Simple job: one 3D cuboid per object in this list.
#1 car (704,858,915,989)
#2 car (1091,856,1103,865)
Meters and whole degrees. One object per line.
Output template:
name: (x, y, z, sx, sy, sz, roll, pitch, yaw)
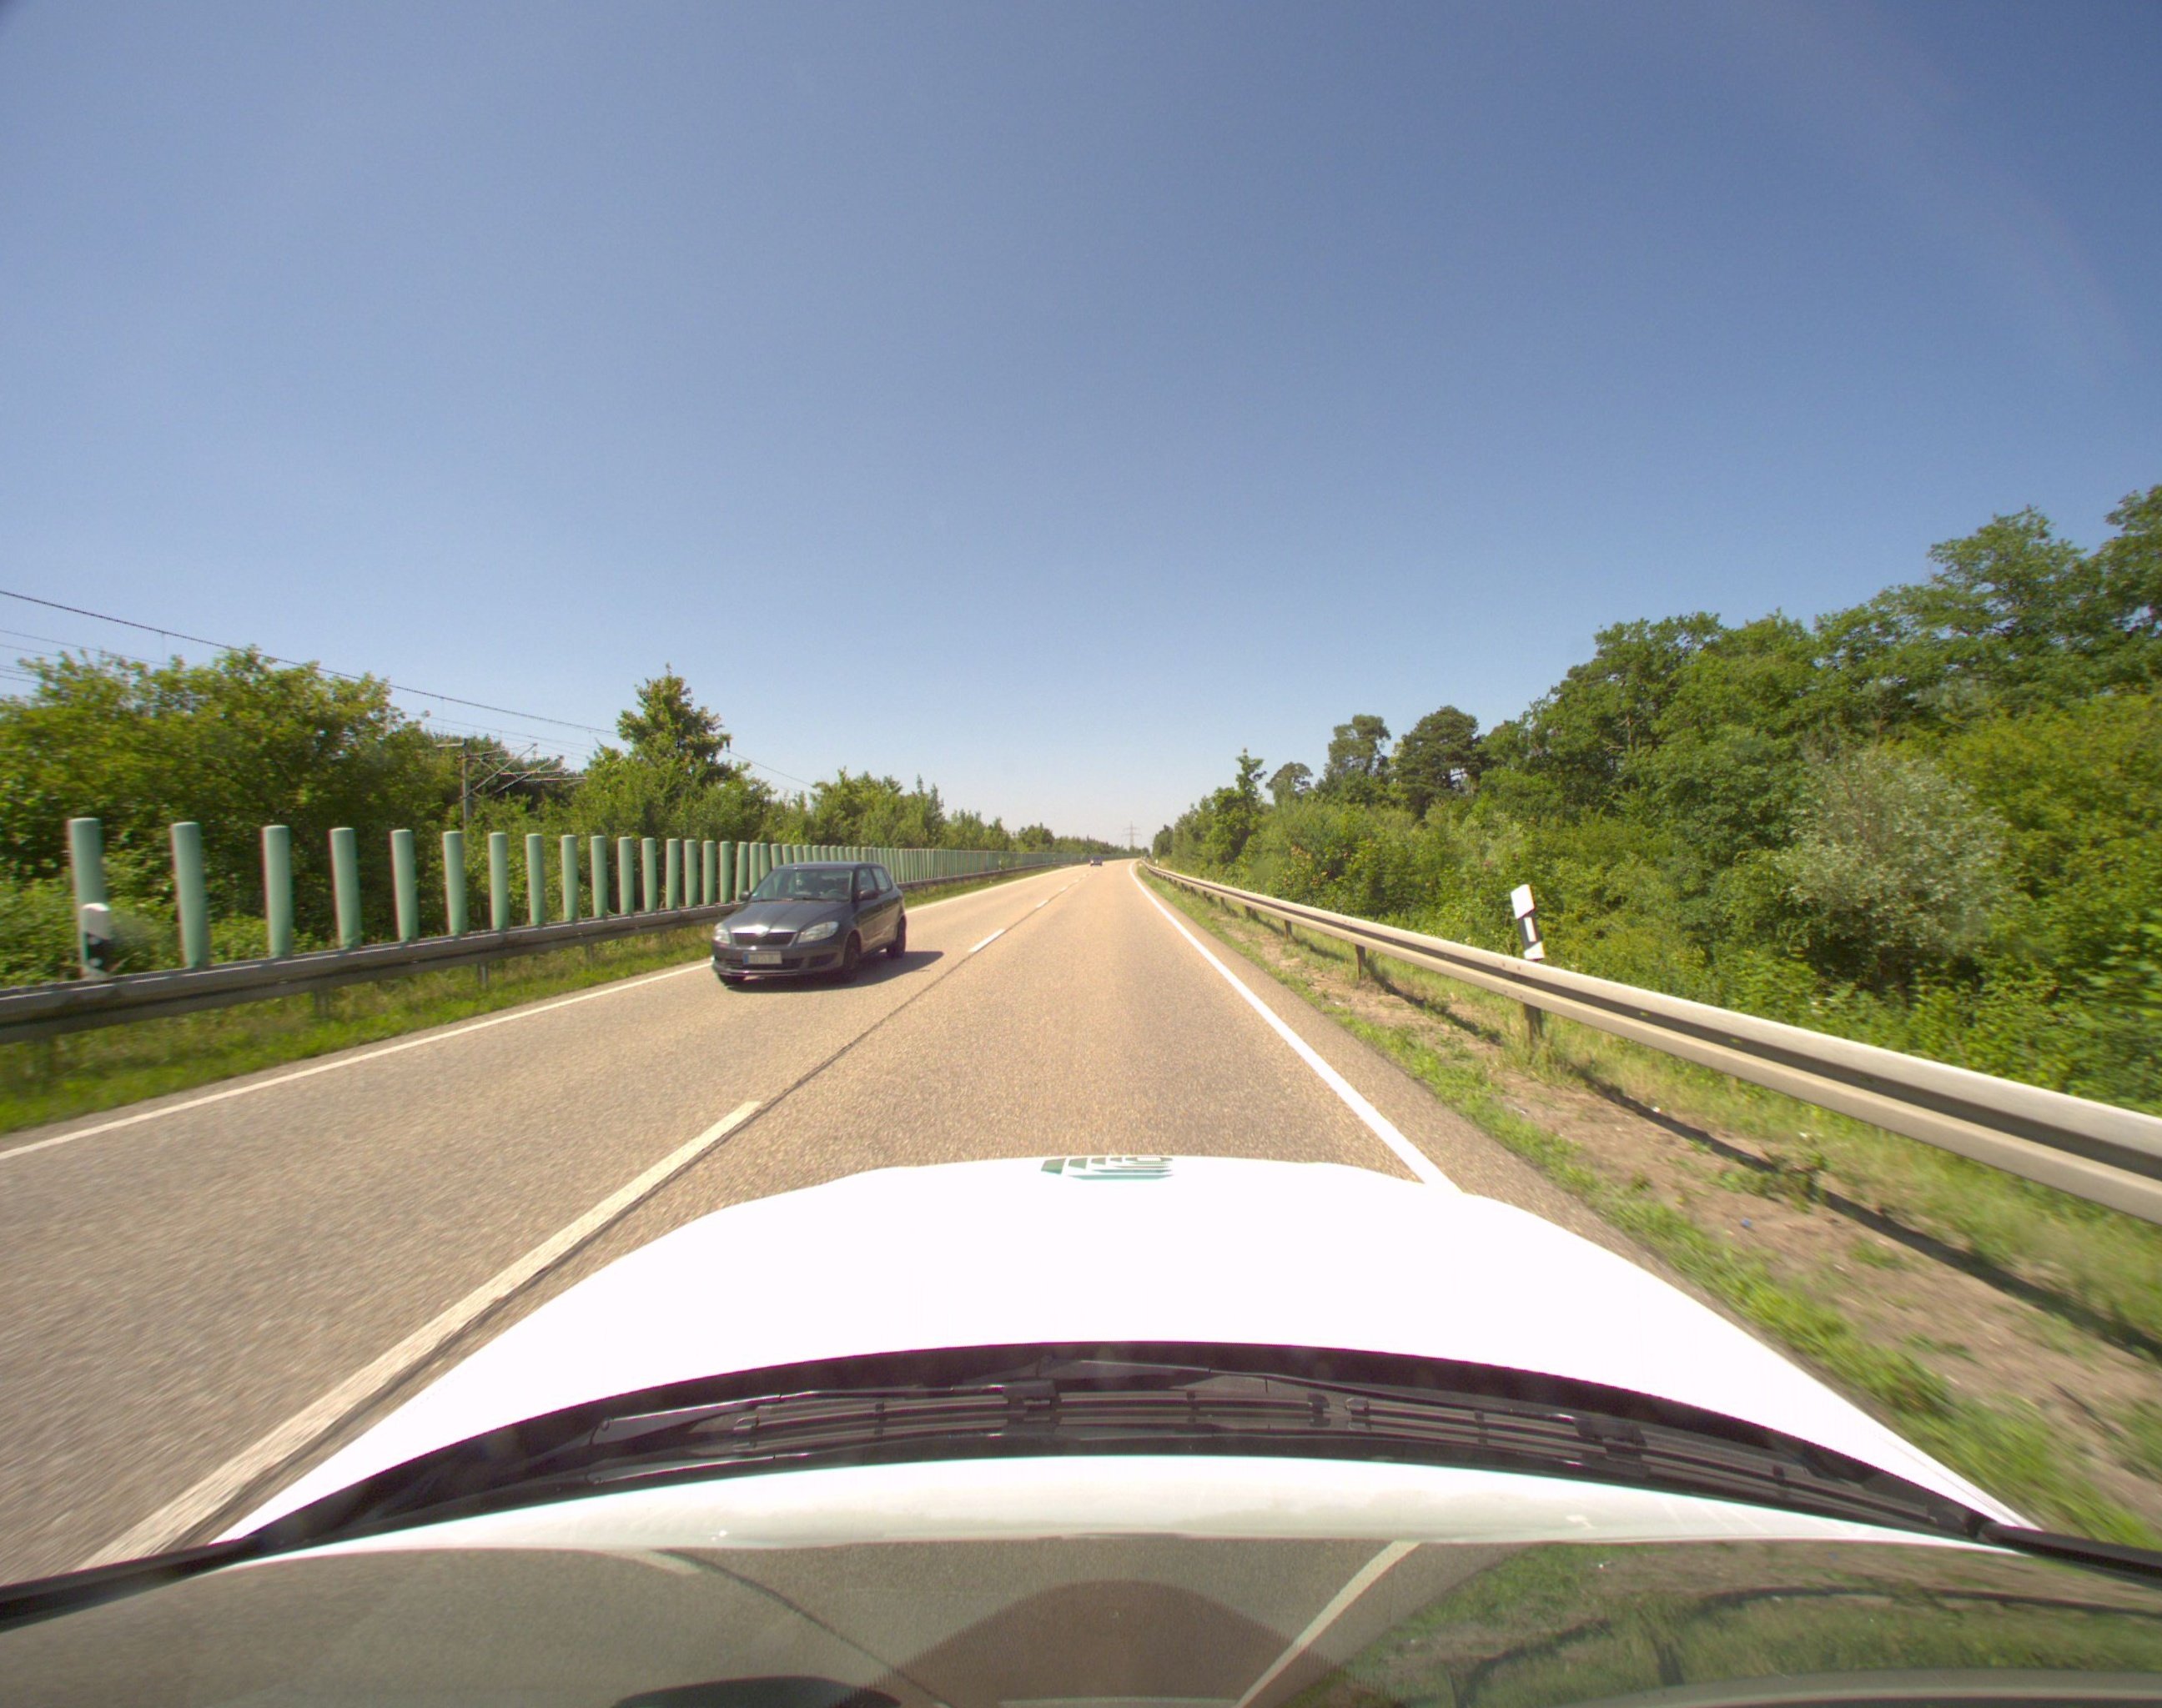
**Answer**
car: (-3.546, 0.821, 11.349, 1.643, 1.479, 3.677, -1, 0, 1)
car: (2.500, 1.046, 126.566, 1.779, 1.371, 3.899, -1, 0, 2)
